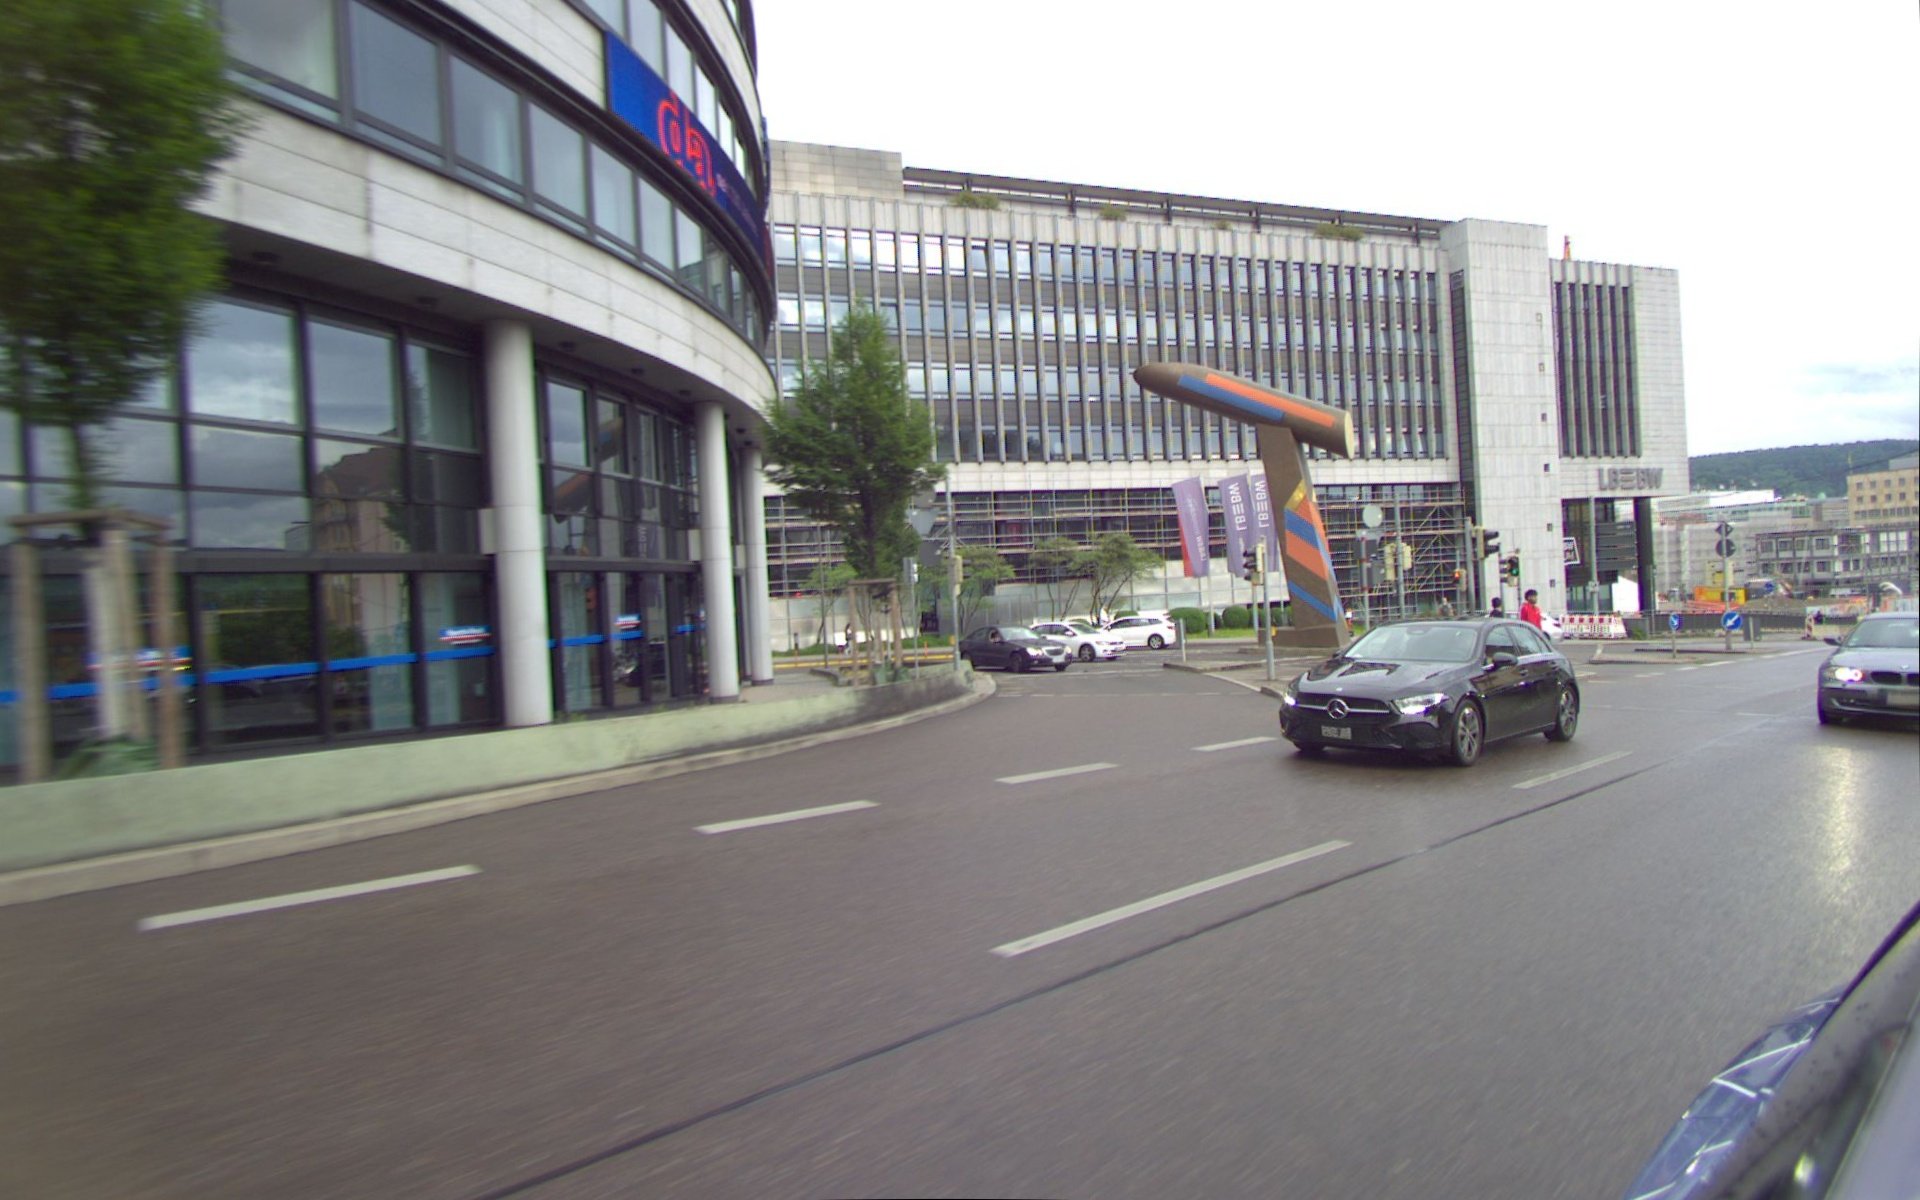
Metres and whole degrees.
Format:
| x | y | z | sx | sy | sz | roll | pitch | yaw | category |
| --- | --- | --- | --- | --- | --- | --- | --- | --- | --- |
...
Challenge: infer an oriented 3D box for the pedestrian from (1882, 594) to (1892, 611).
| x | y | z | sx | sy | sz | roll | pitch | yaw | category |
| --- | --- | --- | --- | --- | --- | --- | --- | --- | --- |
| 94.773 | 0.235 | 103.466 | 0.485 | 1.770 | 0.569 | -2 | 0 | -22 | pedestrian |

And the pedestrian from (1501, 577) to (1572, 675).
| x | y | z | sx | sy | sz | roll | pitch | yaw | category |
| --- | --- | --- | --- | --- | --- | --- | --- | --- | --- |
| 11.801 | 0.526 | 20.733 | 0.843 | 1.928 | 0.845 | -2 | -1 | -15 | pedestrian |

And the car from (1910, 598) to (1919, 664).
| x | y | z | sx | sy | sz | roll | pitch | yaw | category |
| --- | --- | --- | --- | --- | --- | --- | --- | --- | --- |
| 24.991 | 0.725 | 24.642 | 4.139 | 1.568 | 1.969 | 0 | -1 | -36 | car |

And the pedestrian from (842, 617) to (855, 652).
| x | y | z | sx | sy | sz | roll | pitch | yaw | category |
| --- | --- | --- | --- | --- | --- | --- | --- | --- | --- |
| -5.603 | 1.738 | 50.876 | 0.541 | 1.769 | 0.563 | 0 | -2 | -14 | pedestrian |

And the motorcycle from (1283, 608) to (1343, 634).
| x | y | z | sx | sy | sz | roll | pitch | yaw | category |
| --- | --- | --- | --- | --- | --- | --- | --- | --- | --- |
| 16.432 | 0.957 | 47.175 | 2.563 | 1.094 | 0.625 | 3 | 1 | 43 | motorcycle |

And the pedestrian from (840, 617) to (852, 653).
| x | y | z | sx | sy | sz | roll | pitch | yaw | category |
| --- | --- | --- | --- | --- | --- | --- | --- | --- | --- |
| -5.810 | 1.779 | 51.525 | 0.541 | 1.769 | 0.563 | 0 | -2 | -14 | pedestrian |

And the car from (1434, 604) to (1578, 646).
| x | y | z | sx | sy | sz | roll | pitch | yaw | category |
| --- | --- | --- | --- | --- | --- | --- | --- | --- | --- |
| 21.133 | 0.972 | 39.354 | 4.542 | 1.470 | 1.701 | -2 | -1 | 11 | car |

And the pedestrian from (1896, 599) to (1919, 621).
| x | y | z | sx | sy | sz | roll | pitch | yaw | category |
| --- | --- | --- | --- | --- | --- | --- | --- | --- | --- |
| 72.642 | 0.762 | 77.559 | 0.932 | 1.613 | 0.865 | -2 | 0 | -13 | pedestrian |

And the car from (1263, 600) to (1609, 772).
| x | y | z | sx | sy | sz | roll | pitch | yaw | category |
| --- | --- | --- | --- | --- | --- | --- | --- | --- | --- |
| 5.223 | 0.753 | 10.873 | 4.153 | 1.425 | 1.758 | -1 | 0 | -40 | car |

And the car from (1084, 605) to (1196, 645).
| x | y | z | sx | sy | sz | roll | pitch | yaw | category |
| --- | --- | --- | --- | --- | --- | --- | --- | --- | --- |
| 7.754 | 1.086 | 43.697 | 4.526 | 1.655 | 1.764 | -1 | -1 | 22 | car |

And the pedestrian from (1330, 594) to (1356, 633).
| x | y | z | sx | sy | sz | roll | pitch | yaw | category |
| --- | --- | --- | --- | --- | --- | --- | --- | --- | --- |
| 17.229 | 0.601 | 45.516 | 0.829 | 1.732 | 0.730 | -2 | 0 | -41 | pedestrian |

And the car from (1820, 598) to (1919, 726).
| x | y | z | sx | sy | sz | roll | pitch | yaw | category |
| --- | --- | --- | --- | --- | --- | --- | --- | --- | --- |
| 12.506 | 0.712 | 12.945 | 3.930 | 1.461 | 1.742 | 0 | 0 | -41 | car |

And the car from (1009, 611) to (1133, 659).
| x | y | z | sx | sy | sz | roll | pitch | yaw | category |
| --- | --- | --- | --- | --- | --- | --- | --- | --- | --- |
| 3.918 | 1.265 | 35.980 | 3.982 | 1.460 | 1.841 | -3 | 1 | 41 | car |

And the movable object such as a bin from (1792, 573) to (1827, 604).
| x | y | z | sx | sy | sz | roll | pitch | yaw | category |
| --- | --- | --- | --- | --- | --- | --- | --- | --- | --- |
| 98.652 | -1.351 | 117.561 | 4.150 | 3.452 | 1.944 | -3 | 0 | -33 | movable object such as a bin |

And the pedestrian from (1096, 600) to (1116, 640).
| x | y | z | sx | sy | sz | roll | pitch | yaw | category |
| --- | --- | --- | --- | --- | --- | --- | --- | --- | --- |
| 6.954 | 0.923 | 48.204 | 0.766 | 1.840 | 0.971 | -2 | 0 | 0 | pedestrian |

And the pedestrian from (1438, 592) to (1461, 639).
| x | y | z | sx | sy | sz | roll | pitch | yaw | category |
| --- | --- | --- | --- | --- | --- | --- | --- | --- | --- |
| 22.403 | 0.717 | 46.307 | 0.846 | 2.126 | 0.896 | -3 | -3 | 26 | pedestrian |

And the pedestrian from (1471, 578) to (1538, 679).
| x | y | z | sx | sy | sz | roll | pitch | yaw | category |
| --- | --- | --- | --- | --- | --- | --- | --- | --- | --- |
| 10.871 | 0.556 | 20.216 | 0.716 | 1.928 | 0.845 | -2 | 0 | -15 | pedestrian |

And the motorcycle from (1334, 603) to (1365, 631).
| x | y | z | sx | sy | sz | roll | pitch | yaw | category |
| --- | --- | --- | --- | --- | --- | --- | --- | --- | --- |
| 18.435 | 0.793 | 47.884 | 1.240 | 1.287 | 0.610 | 0 | -1 | 43 | motorcycle |

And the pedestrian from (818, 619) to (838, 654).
| x | y | z | sx | sy | sz | roll | pitch | yaw | category |
| --- | --- | --- | --- | --- | --- | --- | --- | --- | --- |
| -6.789 | 1.862 | 52.077 | 0.885 | 1.769 | 0.946 | 0 | -2 | -14 | pedestrian |

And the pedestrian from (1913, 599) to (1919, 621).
| x | y | z | sx | sy | sz | roll | pitch | yaw | category |
| --- | --- | --- | --- | --- | --- | --- | --- | --- | --- |
| 73.141 | 0.748 | 76.828 | 0.788 | 1.595 | 0.735 | -2 | -1 | -13 | pedestrian |

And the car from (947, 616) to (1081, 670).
| x | y | z | sx | sy | sz | roll | pitch | yaw | category |
| --- | --- | --- | --- | --- | --- | --- | --- | --- | --- |
| 1.575 | 1.275 | 31.441 | 1.830 | 1.460 | 4.717 | -2 | 0 | -30 | car |

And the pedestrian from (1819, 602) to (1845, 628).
| x | y | z | sx | sy | sz | roll | pitch | yaw | category |
| --- | --- | --- | --- | --- | --- | --- | --- | --- | --- |
| 56.721 | 0.952 | 65.818 | 1.039 | 1.673 | 0.733 | -1 | -1 | -13 | pedestrian |
